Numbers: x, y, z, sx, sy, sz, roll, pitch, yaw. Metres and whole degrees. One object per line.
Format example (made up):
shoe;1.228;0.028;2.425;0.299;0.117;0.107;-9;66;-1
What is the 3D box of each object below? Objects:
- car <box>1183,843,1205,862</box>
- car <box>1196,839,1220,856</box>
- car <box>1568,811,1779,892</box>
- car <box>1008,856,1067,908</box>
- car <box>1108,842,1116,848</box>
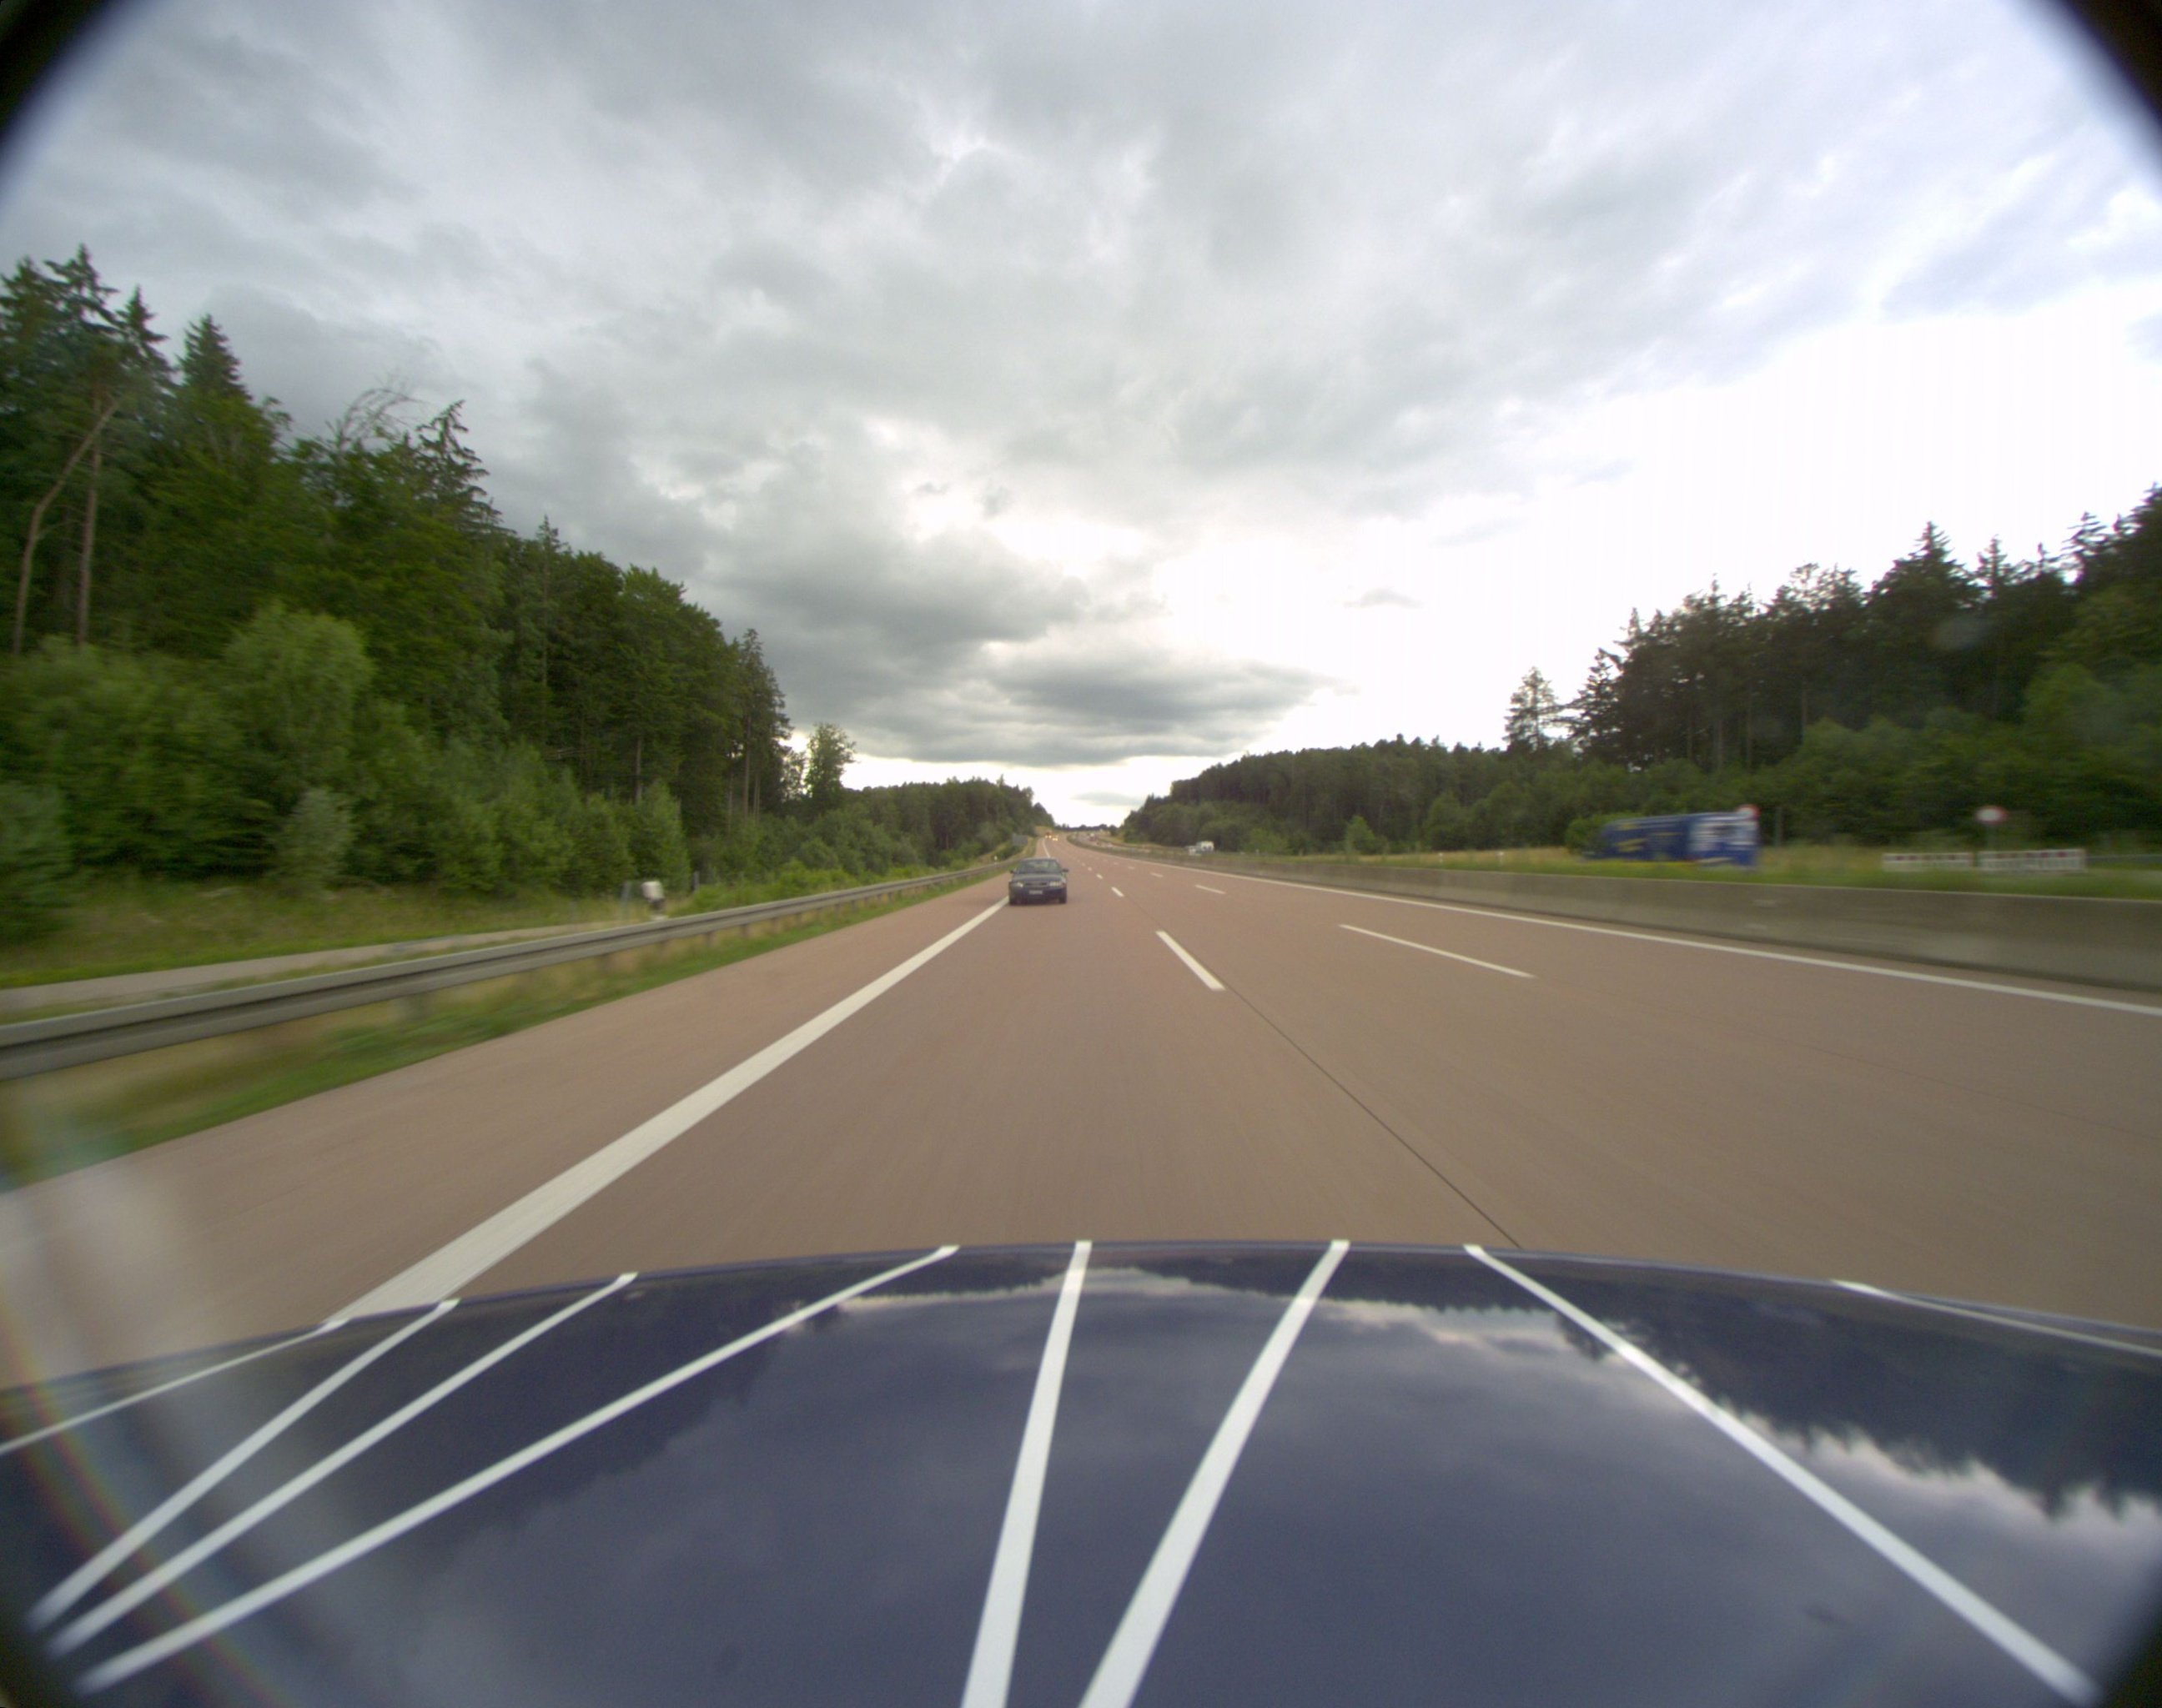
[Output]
car;16.577;-0.269;111.915;2.039;2.595;6.352;-2;1;-2
car;20.592;-1.137;123.852;2.466;2.595;7.326;-2;1;-2
car;18.774;-0.070;24.603;1.999;2.229;6.040;-2;0;-1
car;-1.307;0.831;24.383;1.676;1.395;4.232;-2;1;-1
car;10.274;-3.024;251.652;2.039;1.872;4.722;-2;1;-3
